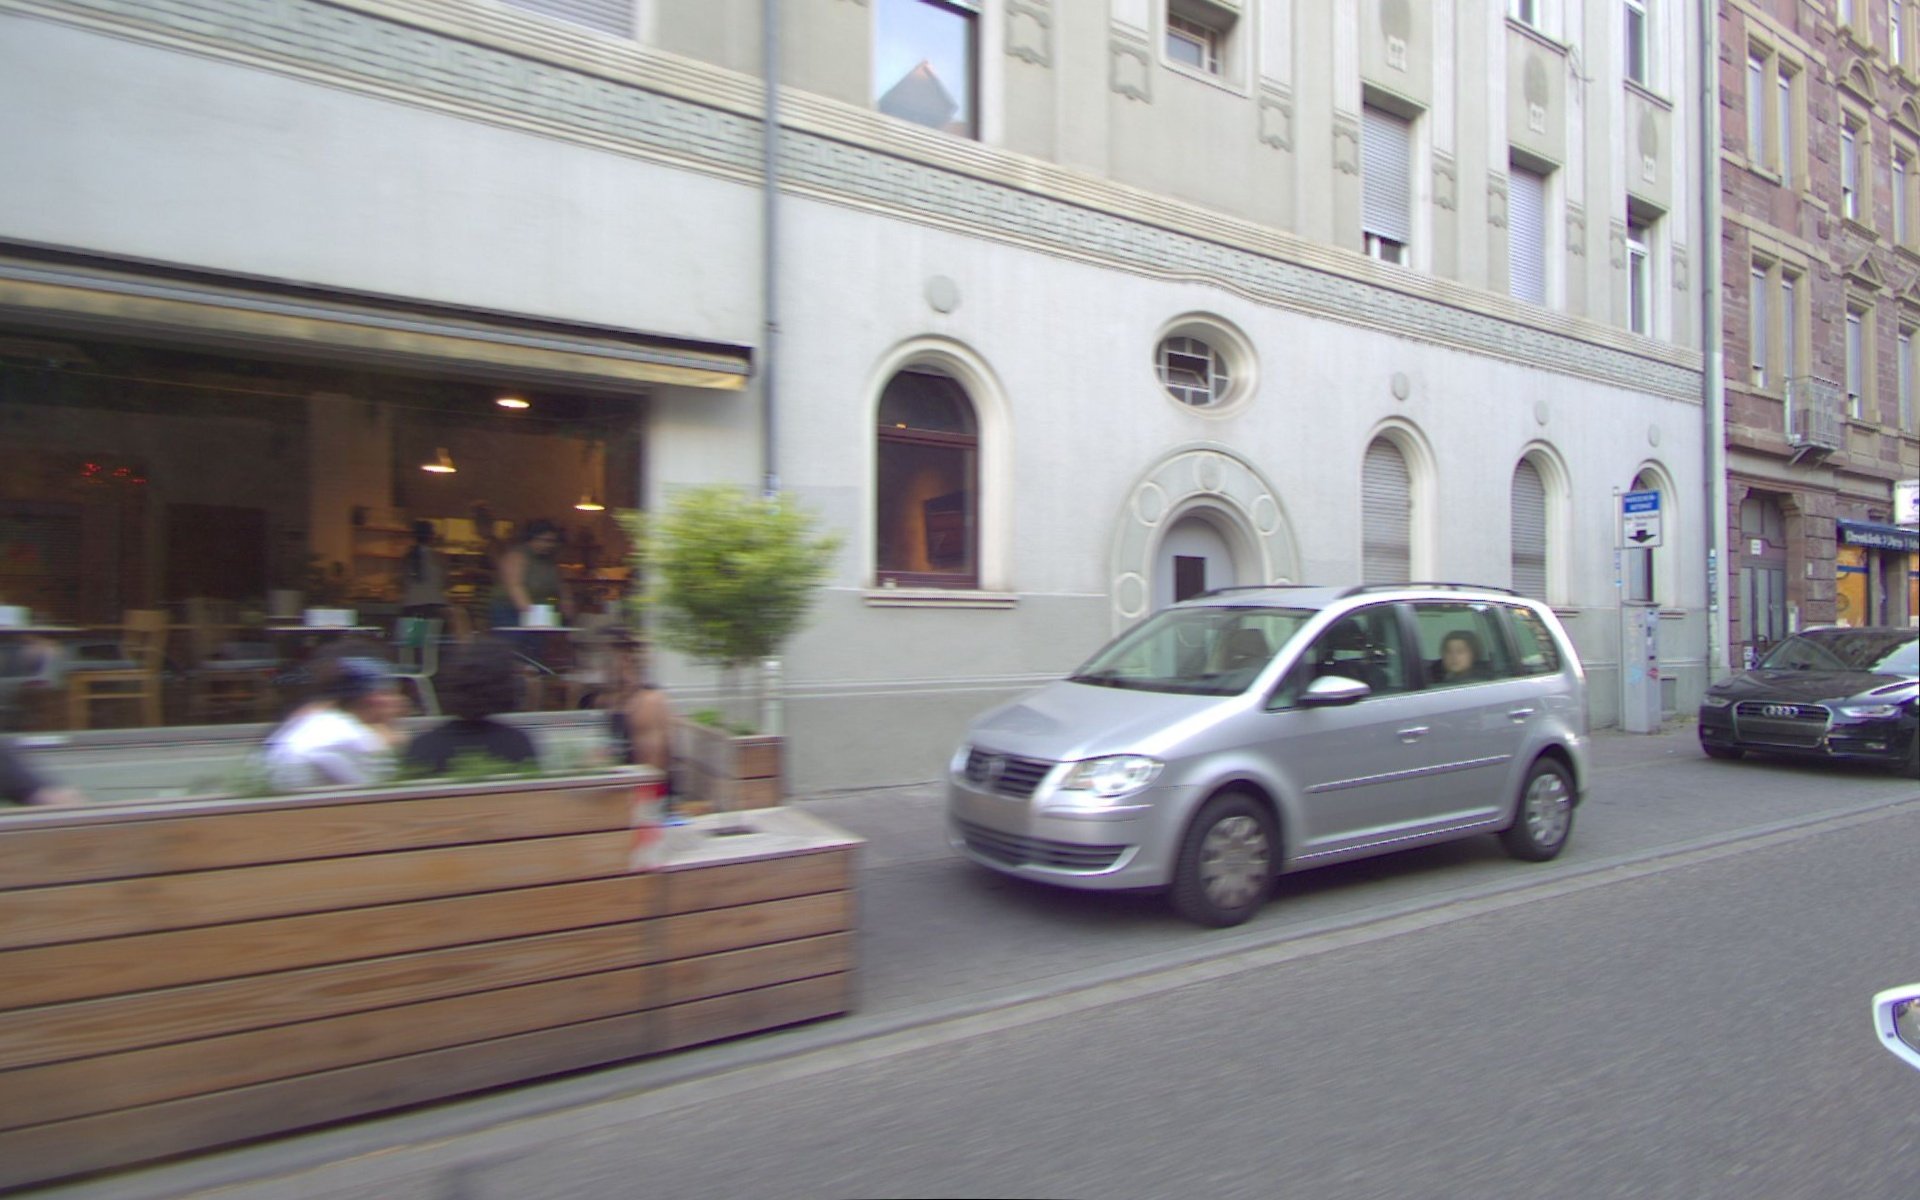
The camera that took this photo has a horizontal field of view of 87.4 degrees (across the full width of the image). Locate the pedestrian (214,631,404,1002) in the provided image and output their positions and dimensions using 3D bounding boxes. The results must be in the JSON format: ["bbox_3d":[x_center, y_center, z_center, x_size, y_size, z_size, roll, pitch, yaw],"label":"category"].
[{"bbox_3d":[-2.623,0.812,4.088,0.604,1.368,0.466,1,-1,-32],"label":"pedestrian"}]

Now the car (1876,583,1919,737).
[{"bbox_3d":[14.515,0.784,13.505,4.888,1.951,1.896,1,-1,-30],"label":"car"}]

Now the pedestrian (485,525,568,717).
[{"bbox_3d":[-3.260,0.158,7.540,0.512,1.368,0.536,1,-1,-29],"label":"pedestrian"}]

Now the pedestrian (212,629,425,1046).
[{"bbox_3d":[-2.322,0.793,3.676,0.604,1.368,0.466,1,-1,-32],"label":"pedestrian"}]

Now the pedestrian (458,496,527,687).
[{"bbox_3d":[-4.266,-0.069,9.167,0.512,1.676,0.536,1,-1,-30],"label":"pedestrian"}]

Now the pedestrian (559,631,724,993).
[{"bbox_3d":[-1.335,0.818,4.195,0.534,1.368,0.514,1,-1,-33],"label":"pedestrian"}]

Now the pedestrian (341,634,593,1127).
[{"bbox_3d":[-1.566,0.796,3.192,0.661,1.368,0.481,1,-1,-32],"label":"pedestrian"}]

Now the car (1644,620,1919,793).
[{"bbox_3d":[9.507,0.977,10.762,4.481,1.491,1.902,1,-1,-31],"label":"car"}]

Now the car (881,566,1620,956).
[{"bbox_3d":[1.864,0.703,6.126,4.265,1.612,1.983,1,-1,-31],"label":"car"}]

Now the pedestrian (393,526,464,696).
[{"bbox_3d":[-4.597,0.098,8.678,0.512,1.401,0.536,1,-1,-30],"label":"pedestrian"}]

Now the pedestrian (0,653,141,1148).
[{"bbox_3d":[-2.952,0.841,2.937,0.762,1.342,0.606,1,-1,-31],"label":"pedestrian"}]

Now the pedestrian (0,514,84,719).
[{"bbox_3d":[-5.720,0.094,5.917,0.739,1.169,0.554,1,-1,-31],"label":"pedestrian"}]
